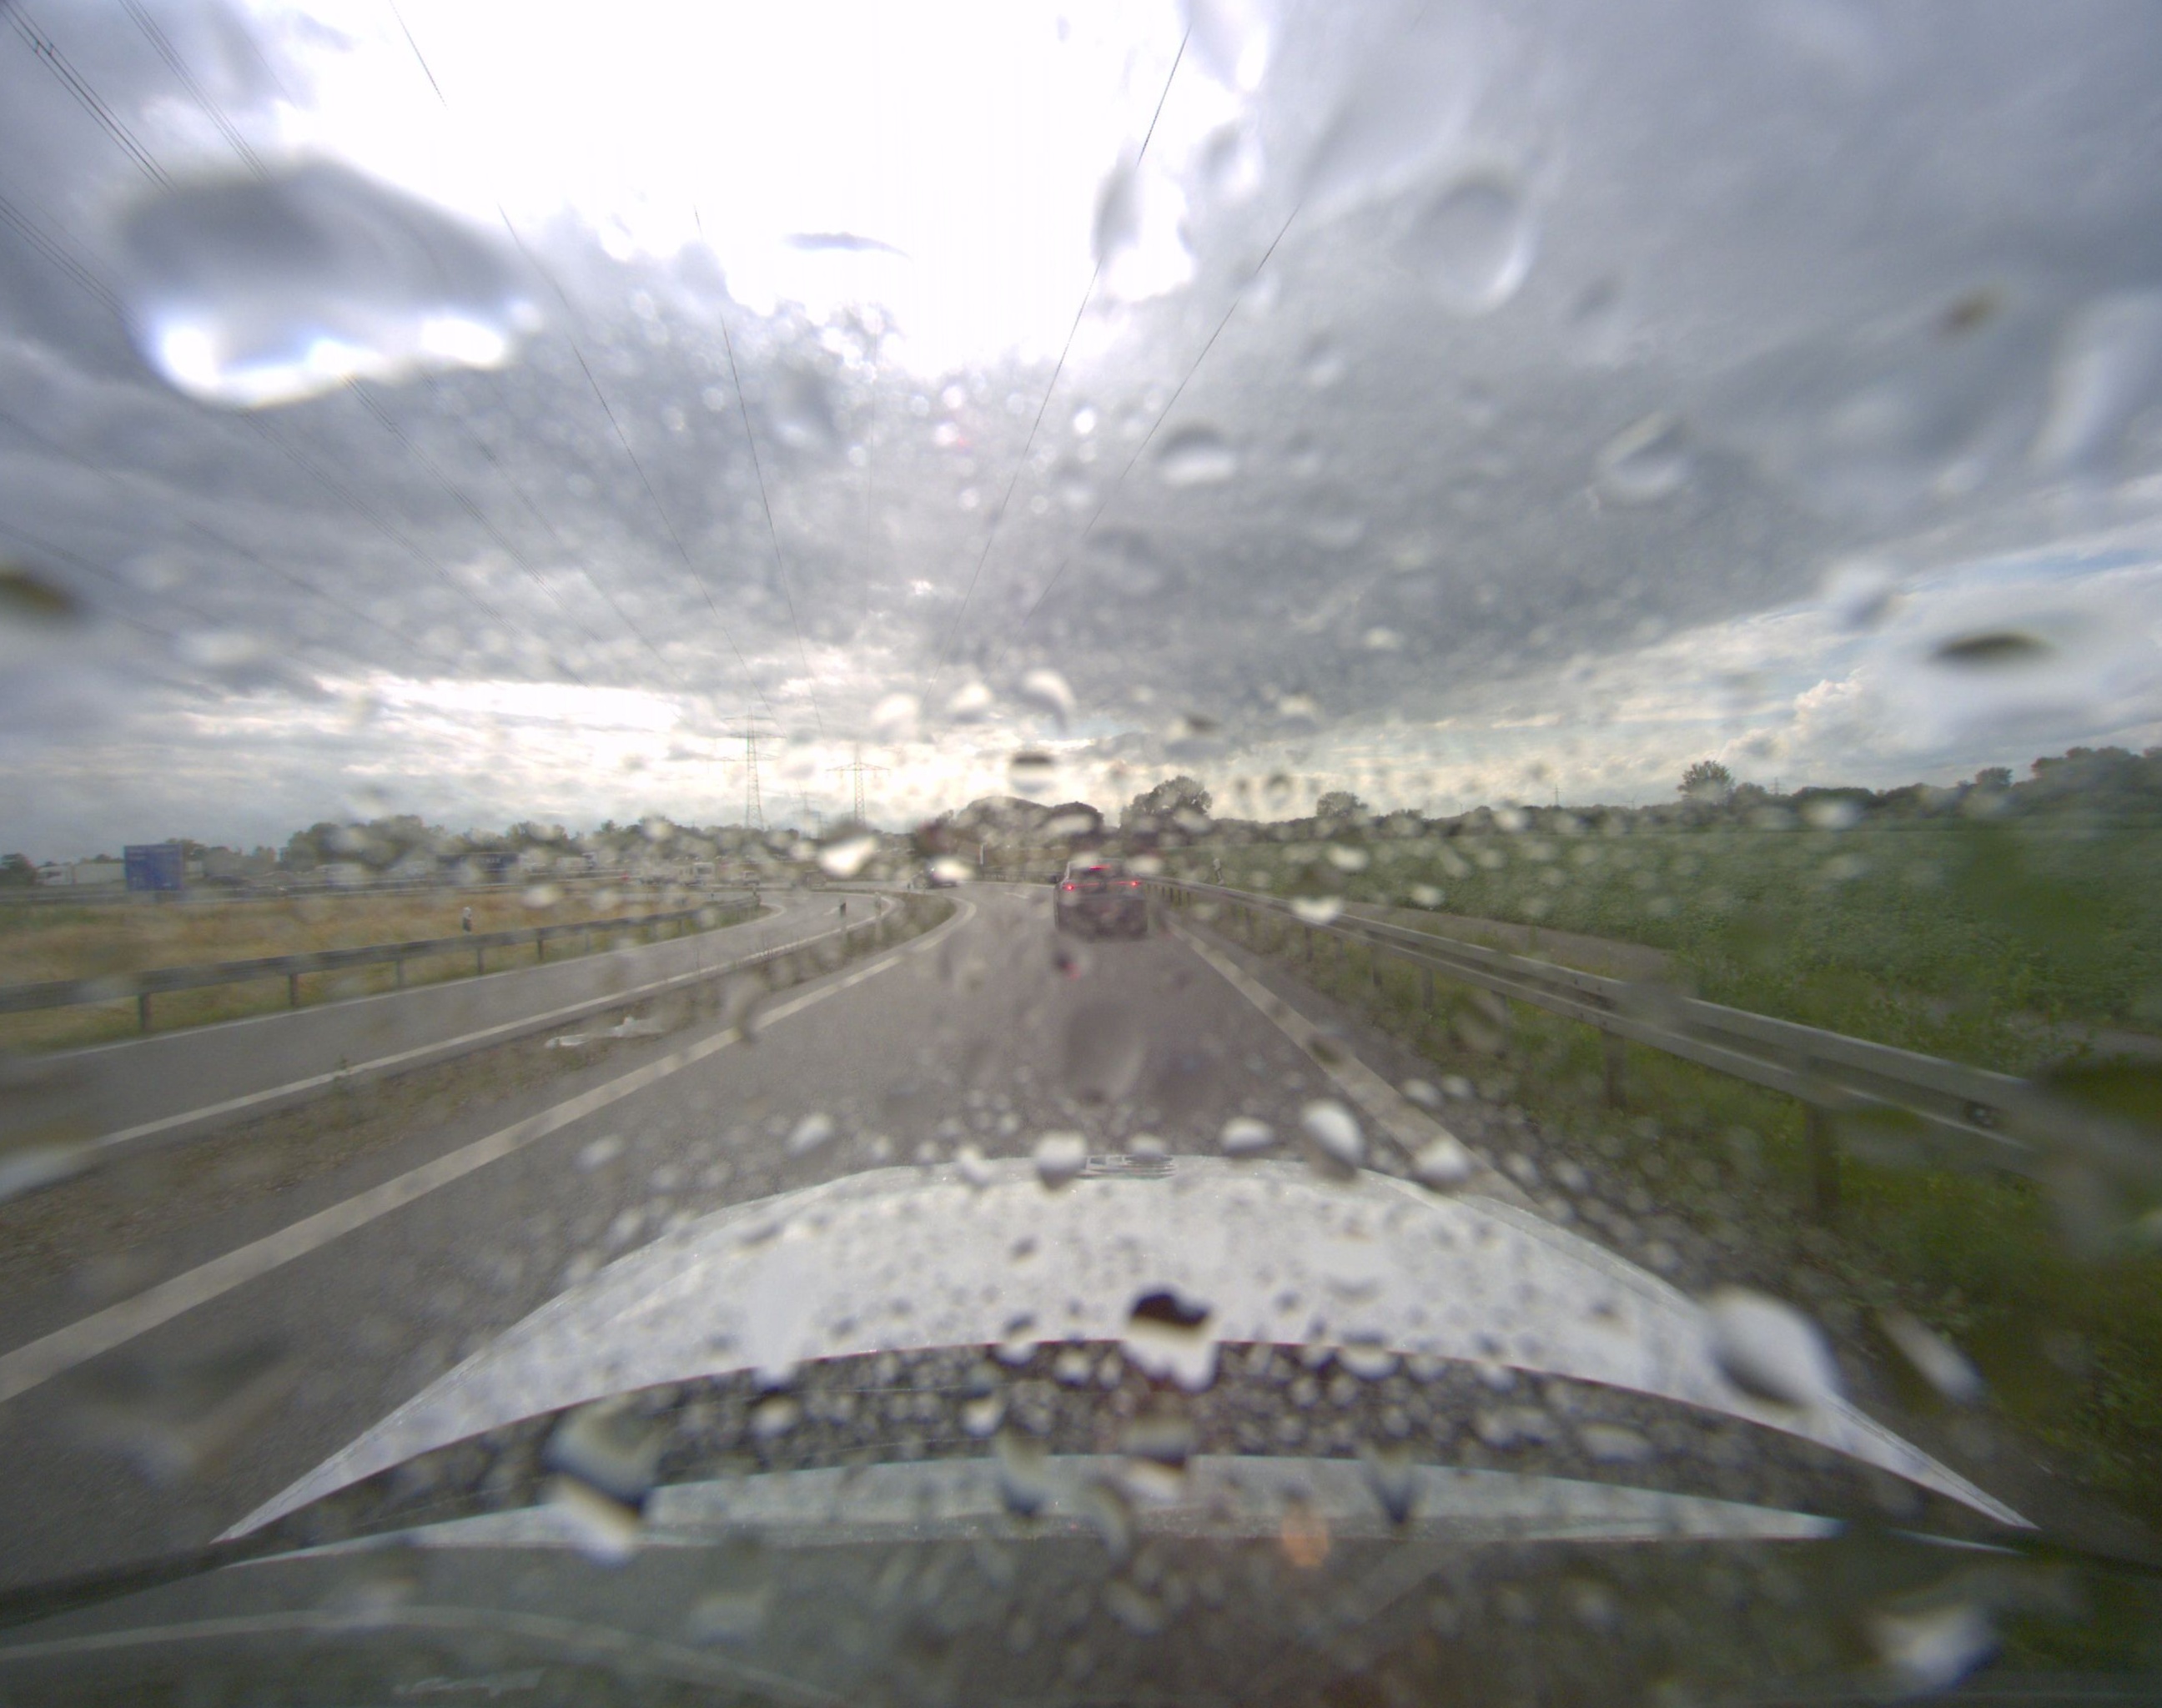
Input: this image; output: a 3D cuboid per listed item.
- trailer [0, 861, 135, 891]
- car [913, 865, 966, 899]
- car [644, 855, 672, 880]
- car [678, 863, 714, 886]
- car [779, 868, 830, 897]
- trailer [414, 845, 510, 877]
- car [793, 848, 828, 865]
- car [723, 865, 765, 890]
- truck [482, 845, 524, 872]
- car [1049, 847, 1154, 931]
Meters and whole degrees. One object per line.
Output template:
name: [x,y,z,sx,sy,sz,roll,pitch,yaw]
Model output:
trailer: [-145.272,3.061,115.699,2.827,3.671,14.166,-1,1,17]
car: [-9.868,1.859,56.291,2.132,2.017,5.488,-3,2,-26]
car: [-56.971,1.745,109.610,3.155,2.951,7.143,-3,3,-29]
car: [-43.875,2.274,92.749,2.372,2.306,5.068,-4,3,-40]
car: [-25.053,2.522,73.711,2.372,2.306,5.066,-4,3,-43]
trailer: [-103.928,1.051,137.211,3.024,4.634,13.363,-1,3,16]
car: [-64.930,0.550,195.625,3.357,3.610,9.084,-2,0,16]
car: [-35.444,2.377,85.472,2.372,2.306,5.066,-4,3,-43]
truck: [-102.069,0.797,143.939,3.045,4.478,5.095,-1,2,16]
car: [0.351,0.660,17.704,1.988,1.566,4.147,-1,1,-1]
